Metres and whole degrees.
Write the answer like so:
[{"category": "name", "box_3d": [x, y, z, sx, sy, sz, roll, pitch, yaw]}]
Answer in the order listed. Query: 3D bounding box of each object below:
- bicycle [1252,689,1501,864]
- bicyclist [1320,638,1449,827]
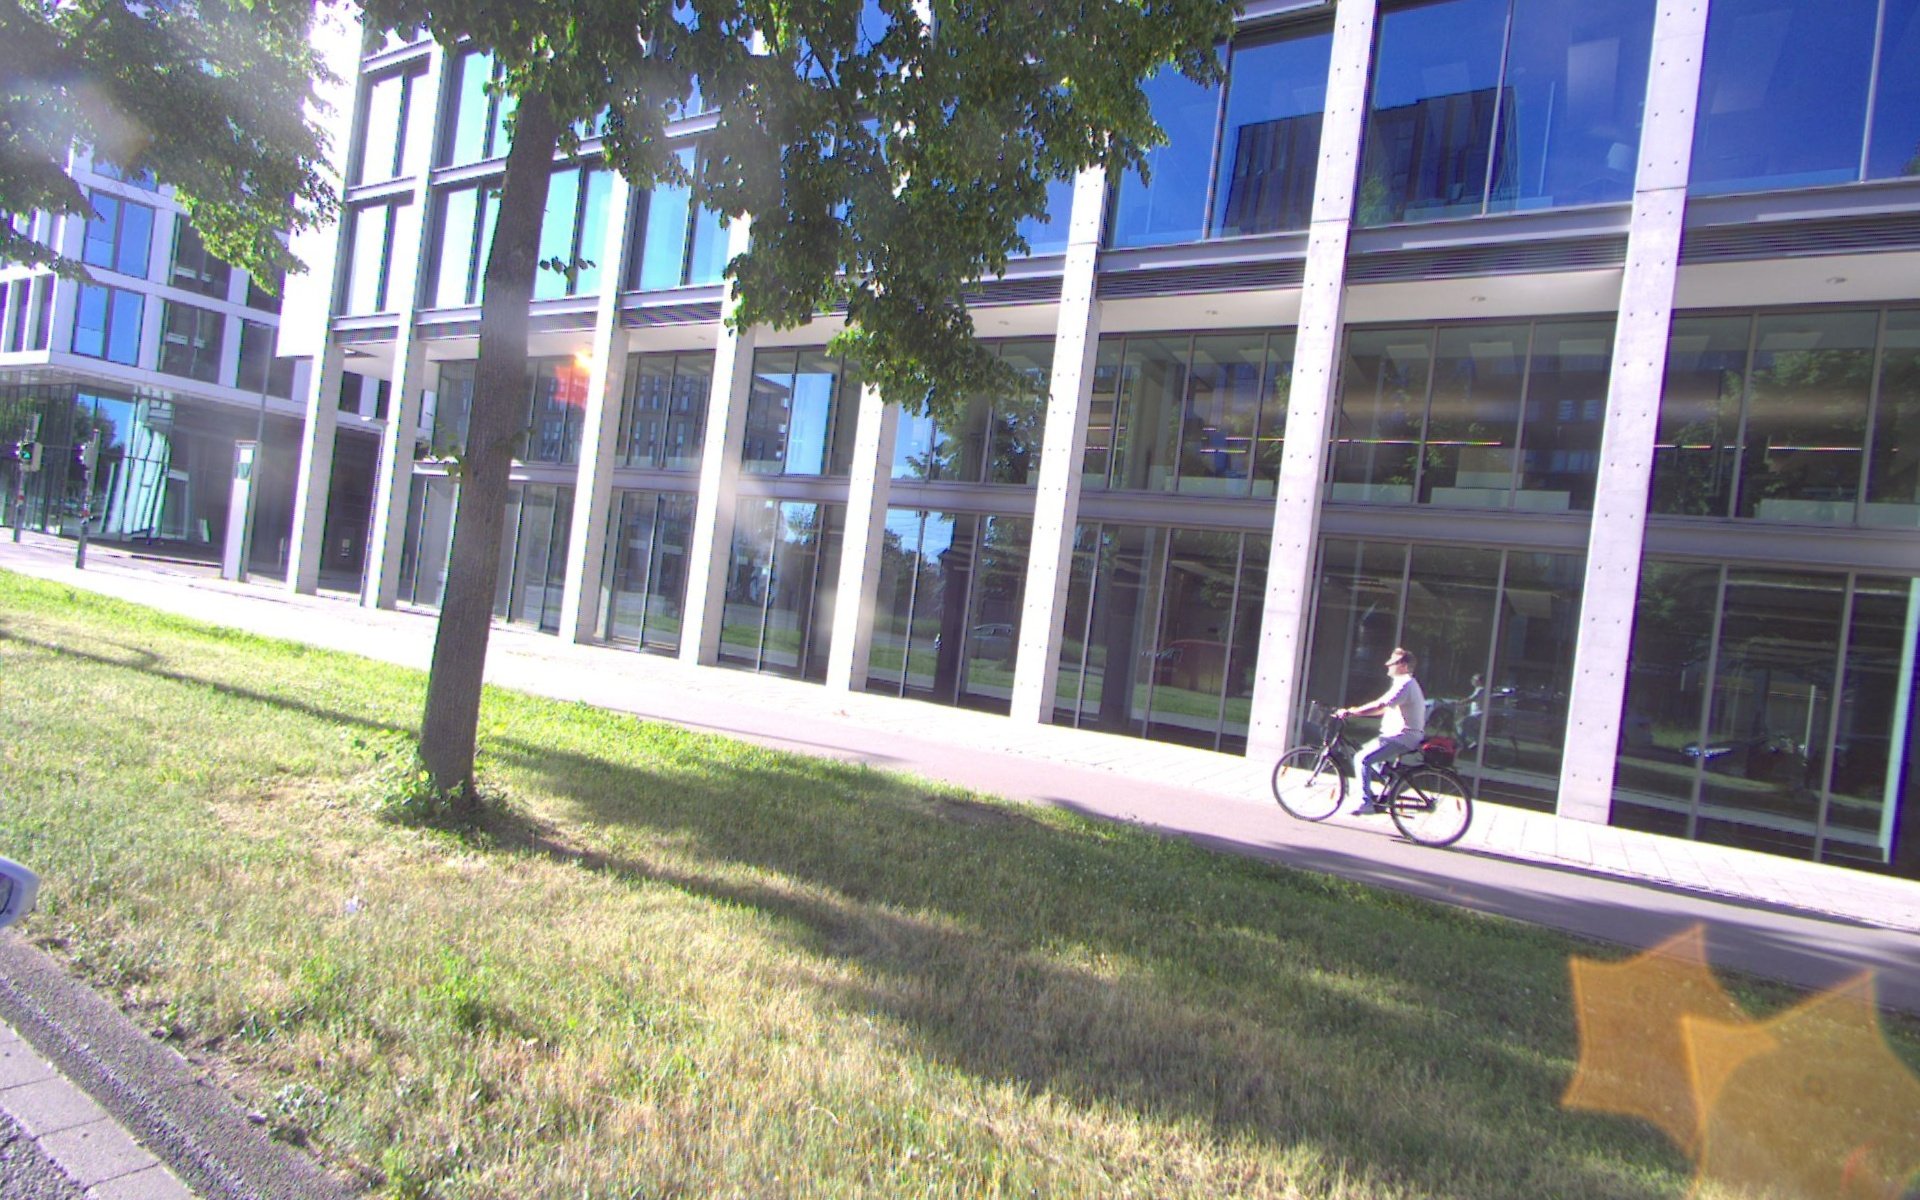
[{"category": "bicycle", "box_3d": [3.838, 1.569, 9.336, 1.929, 1.189, 0.742, 7, 1, 32]}, {"category": "bicyclist", "box_3d": [3.927, 1.191, 9.293, 0.835, 1.550, 0.772, 7, 0, 31]}]
